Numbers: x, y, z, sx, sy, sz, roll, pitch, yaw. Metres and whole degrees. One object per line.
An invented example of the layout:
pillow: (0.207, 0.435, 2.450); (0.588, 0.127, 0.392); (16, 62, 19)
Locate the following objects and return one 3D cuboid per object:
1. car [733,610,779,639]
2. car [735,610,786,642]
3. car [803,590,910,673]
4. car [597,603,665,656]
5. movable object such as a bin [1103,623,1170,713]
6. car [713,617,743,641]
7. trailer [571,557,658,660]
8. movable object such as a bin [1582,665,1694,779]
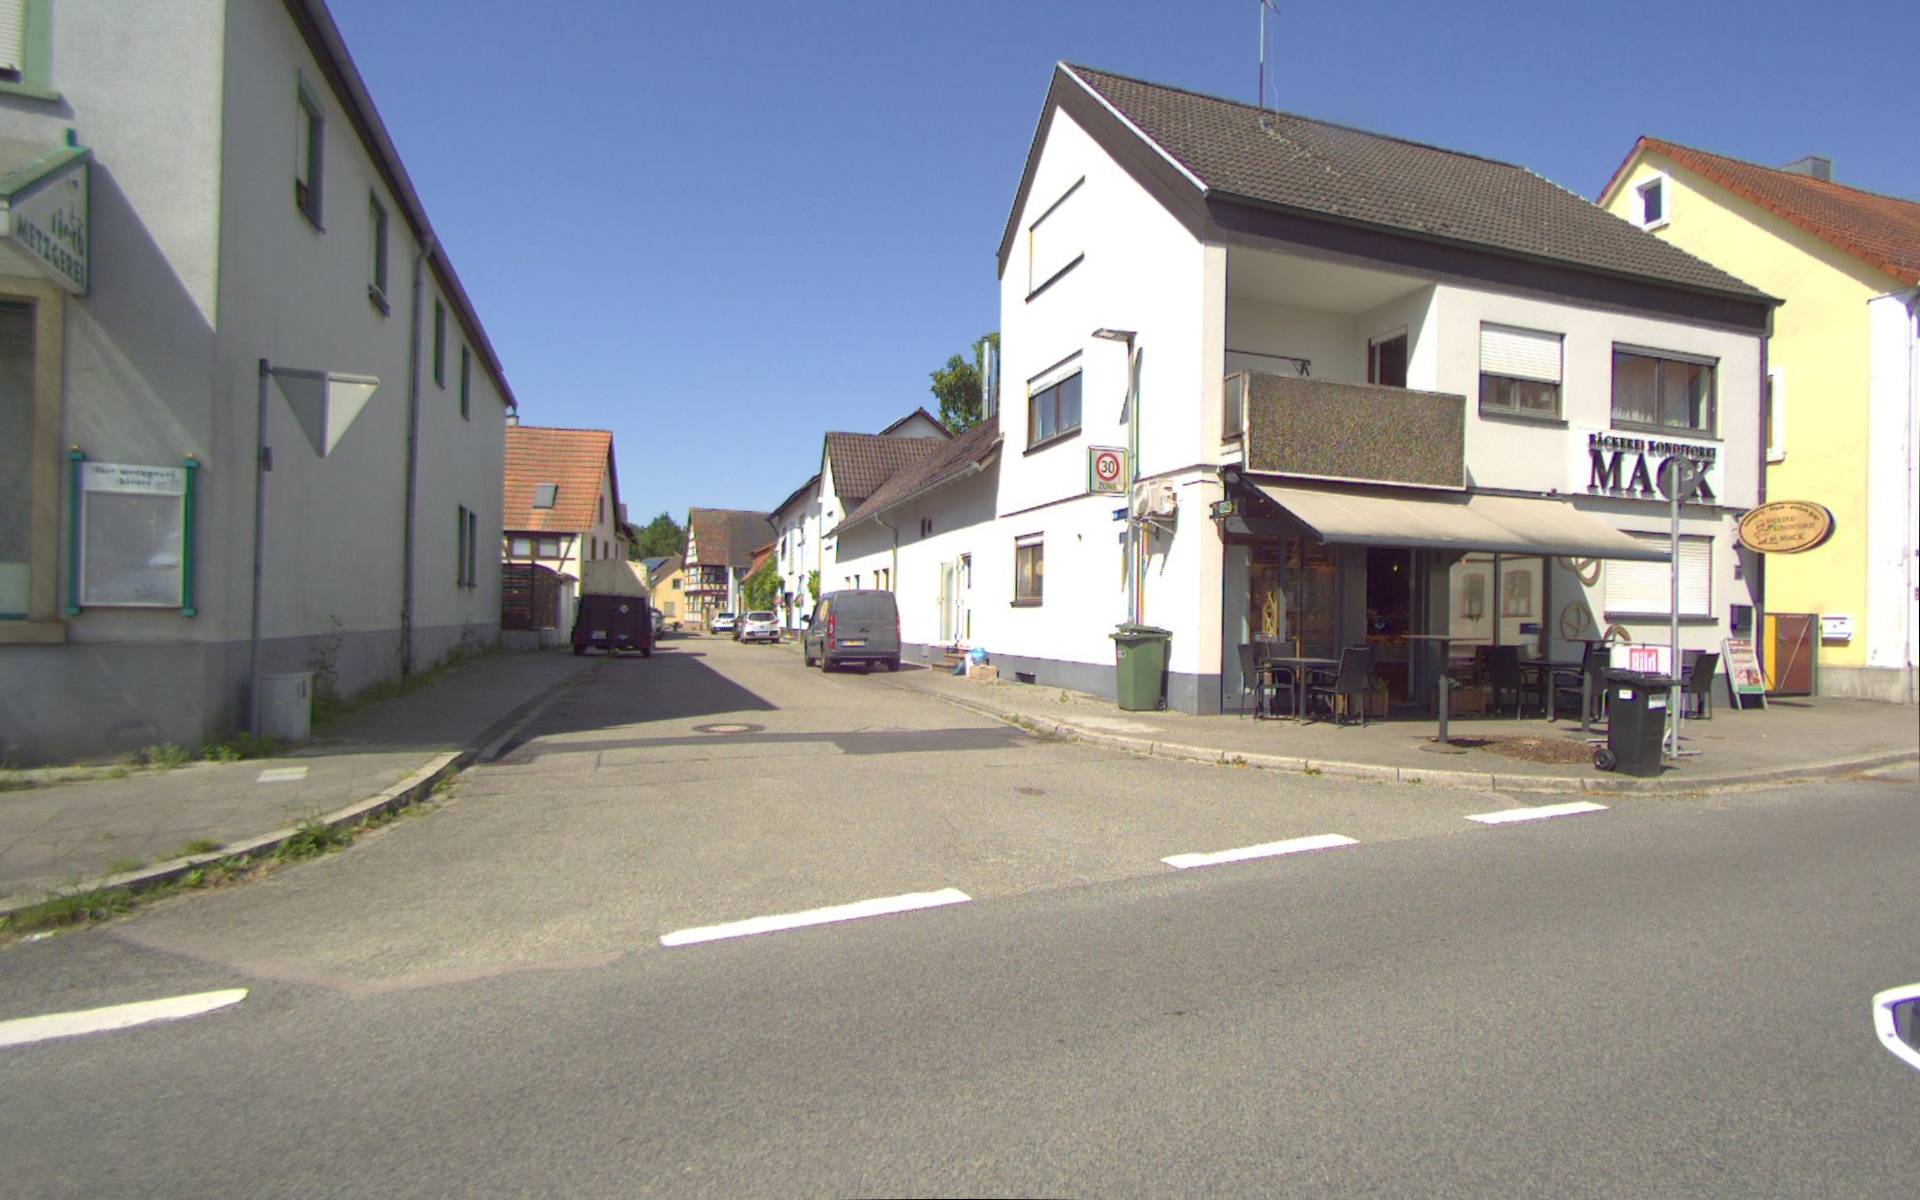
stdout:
car: (-10.626, 1.237, 52.134); (1.968, 1.416, 3.986); (1, -1, -16)
car: (-9.367, 1.202, 47.000); (1.968, 1.416, 3.986); (1, -1, -16)
car: (-2.503, 0.699, 23.475); (1.843, 1.782, 3.750); (1, 0, -16)
car: (-11.311, 0.981, 34.752); (1.966, 1.706, 3.988); (1, -1, -14)
movable object such as a bin: (2.345, 0.893, 13.388); (0.634, 1.153, 0.671); (1, 0, -18)
car: (-17.454, 2.158, 75.565); (1.968, 1.662, 3.986); (1, -1, -16)
trailer: (-9.890, 0.259, 29.025); (2.024, 2.708, 3.987); (2, -1, -16)
movable object such as a bin: (6.124, 1.078, 9.079); (0.606, 0.936, 0.639); (1, -1, -30)
